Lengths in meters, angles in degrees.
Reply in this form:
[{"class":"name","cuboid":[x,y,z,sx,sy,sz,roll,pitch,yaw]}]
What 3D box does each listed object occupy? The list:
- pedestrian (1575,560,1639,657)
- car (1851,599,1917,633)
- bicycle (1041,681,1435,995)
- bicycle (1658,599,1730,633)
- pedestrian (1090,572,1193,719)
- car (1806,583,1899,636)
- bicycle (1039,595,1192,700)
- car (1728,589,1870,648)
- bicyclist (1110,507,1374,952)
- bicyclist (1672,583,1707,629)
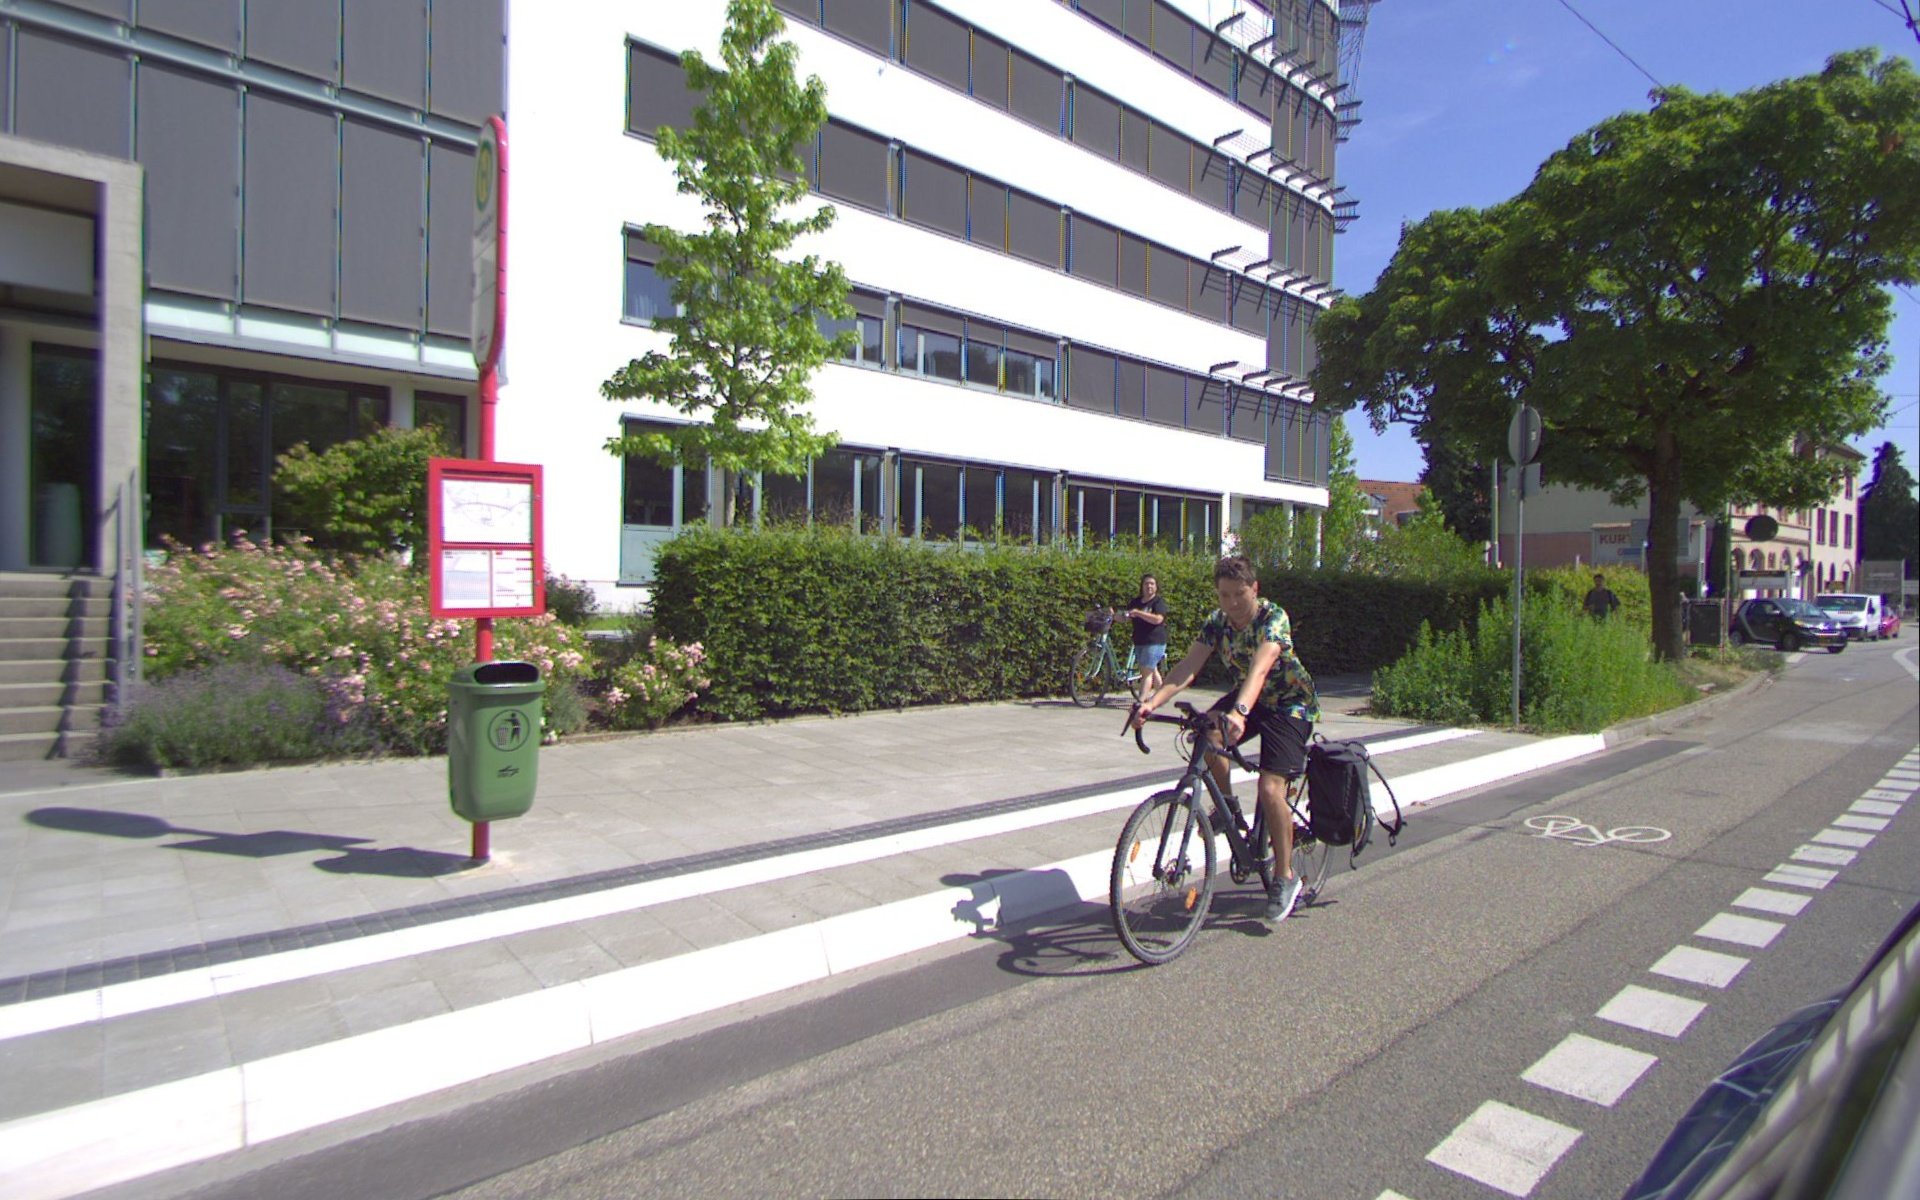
[{"class":"pedestrian","cuboid":[12.794,0.152,19.997,0.889,1.841,1.057,1,0,43]},{"class":"car","cuboid":[42.007,0.689,45.967,3.930,1.424,1.723,0,1,-40]},{"class":"bicycle","cuboid":[1.354,0.948,4.625,2.125,0.996,0.610,0,0,-39]},{"class":"bicycle","cuboid":[26.882,0.575,37.102,2.112,1.212,0.603,1,0,39]},{"class":"pedestrian","cuboid":[2.081,0.488,11.595,0.686,1.582,0.973,3,2,45]},{"class":"car","cuboid":[37.162,0.365,42.102,4.820,2.038,2.089,0,2,-39]},{"class":"bicycle","cuboid":[1.861,0.509,11.886,2.031,1.131,0.637,0,1,-42]},{"class":"car","cuboid":[24.387,0.507,29.533,1.449,1.557,2.981,1,1,-7]},{"class":"bicyclist","cuboid":[1.275,0.502,4.560,0.970,1.746,0.717,0,0,-40]},{"class":"bicyclist","cuboid":[26.792,0.208,37.147,0.960,1.615,0.893,2,1,40]}]
